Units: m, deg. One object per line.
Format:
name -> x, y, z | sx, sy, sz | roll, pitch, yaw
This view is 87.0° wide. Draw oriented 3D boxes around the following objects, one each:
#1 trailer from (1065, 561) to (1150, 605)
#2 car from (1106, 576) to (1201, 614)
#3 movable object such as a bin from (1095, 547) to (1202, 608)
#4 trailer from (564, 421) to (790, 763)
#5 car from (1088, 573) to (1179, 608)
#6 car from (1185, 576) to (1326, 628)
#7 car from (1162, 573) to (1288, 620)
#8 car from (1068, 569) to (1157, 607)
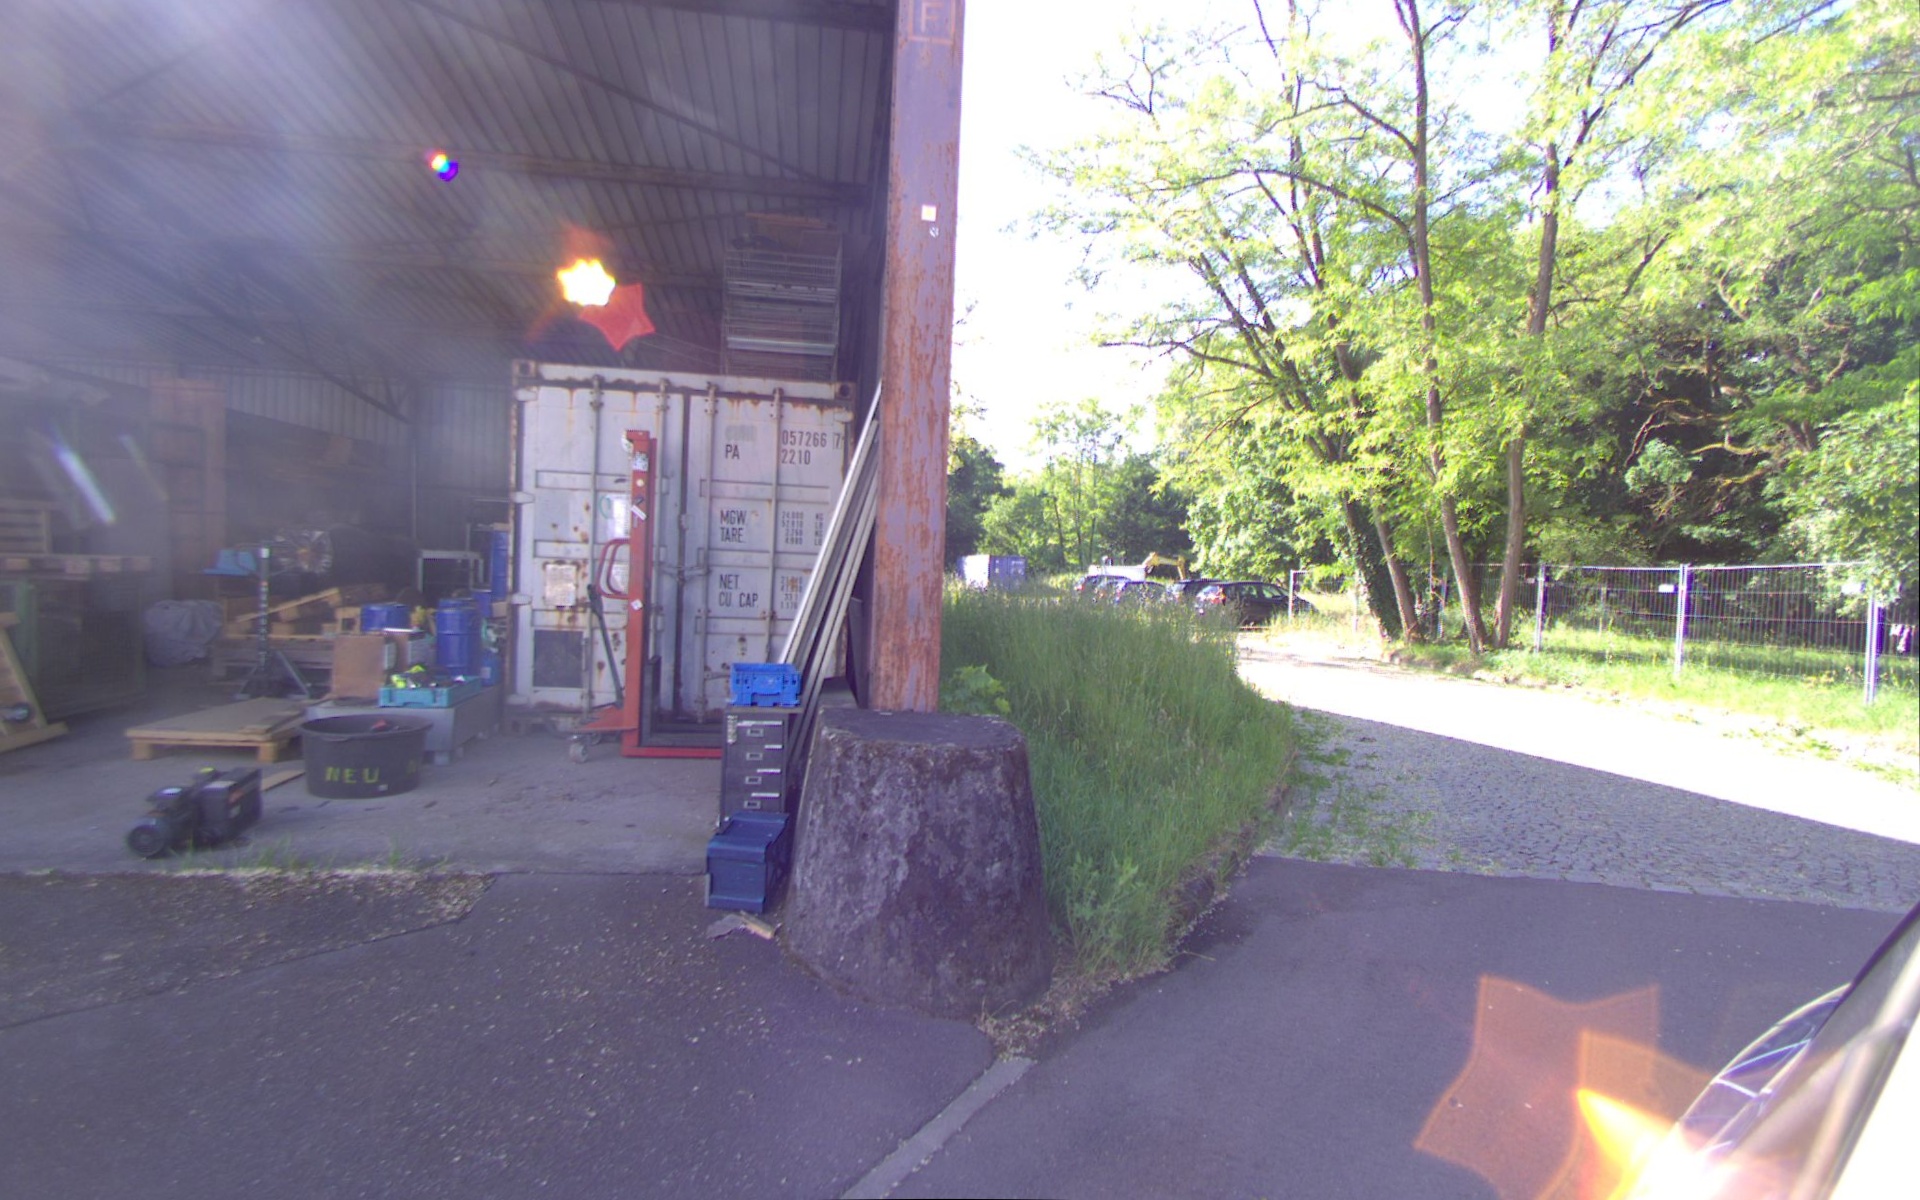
trailer -> 7.354, -0.877, 50.666 | 3.892, 2.120, 1.642 | 0, 1, -7
car -> 8.133, -0.227, 42.800 | 3.590, 1.511, 1.717 | 0, 1, -5
movable object such as a bin -> 9.877, -1.179, 53.335 | 5.063, 3.003, 2.002 | 2, 1, -3
trailer -> -1.838, -0.033, 6.709 | 1.257, 2.094, 0.582 | 4, -1, -11
car -> 7.759, -0.437, 45.341 | 3.588, 1.469, 1.837 | 0, 2, -8
car -> 9.990, 0.022, 34.313 | 4.210, 1.672, 1.797 | 0, 2, -13
car -> 9.778, -0.148, 37.445 | 4.104, 1.676, 1.821 | 0, 1, -8
car -> 7.178, -0.561, 47.726 | 3.743, 1.661, 1.871 | 2, 1, -6
